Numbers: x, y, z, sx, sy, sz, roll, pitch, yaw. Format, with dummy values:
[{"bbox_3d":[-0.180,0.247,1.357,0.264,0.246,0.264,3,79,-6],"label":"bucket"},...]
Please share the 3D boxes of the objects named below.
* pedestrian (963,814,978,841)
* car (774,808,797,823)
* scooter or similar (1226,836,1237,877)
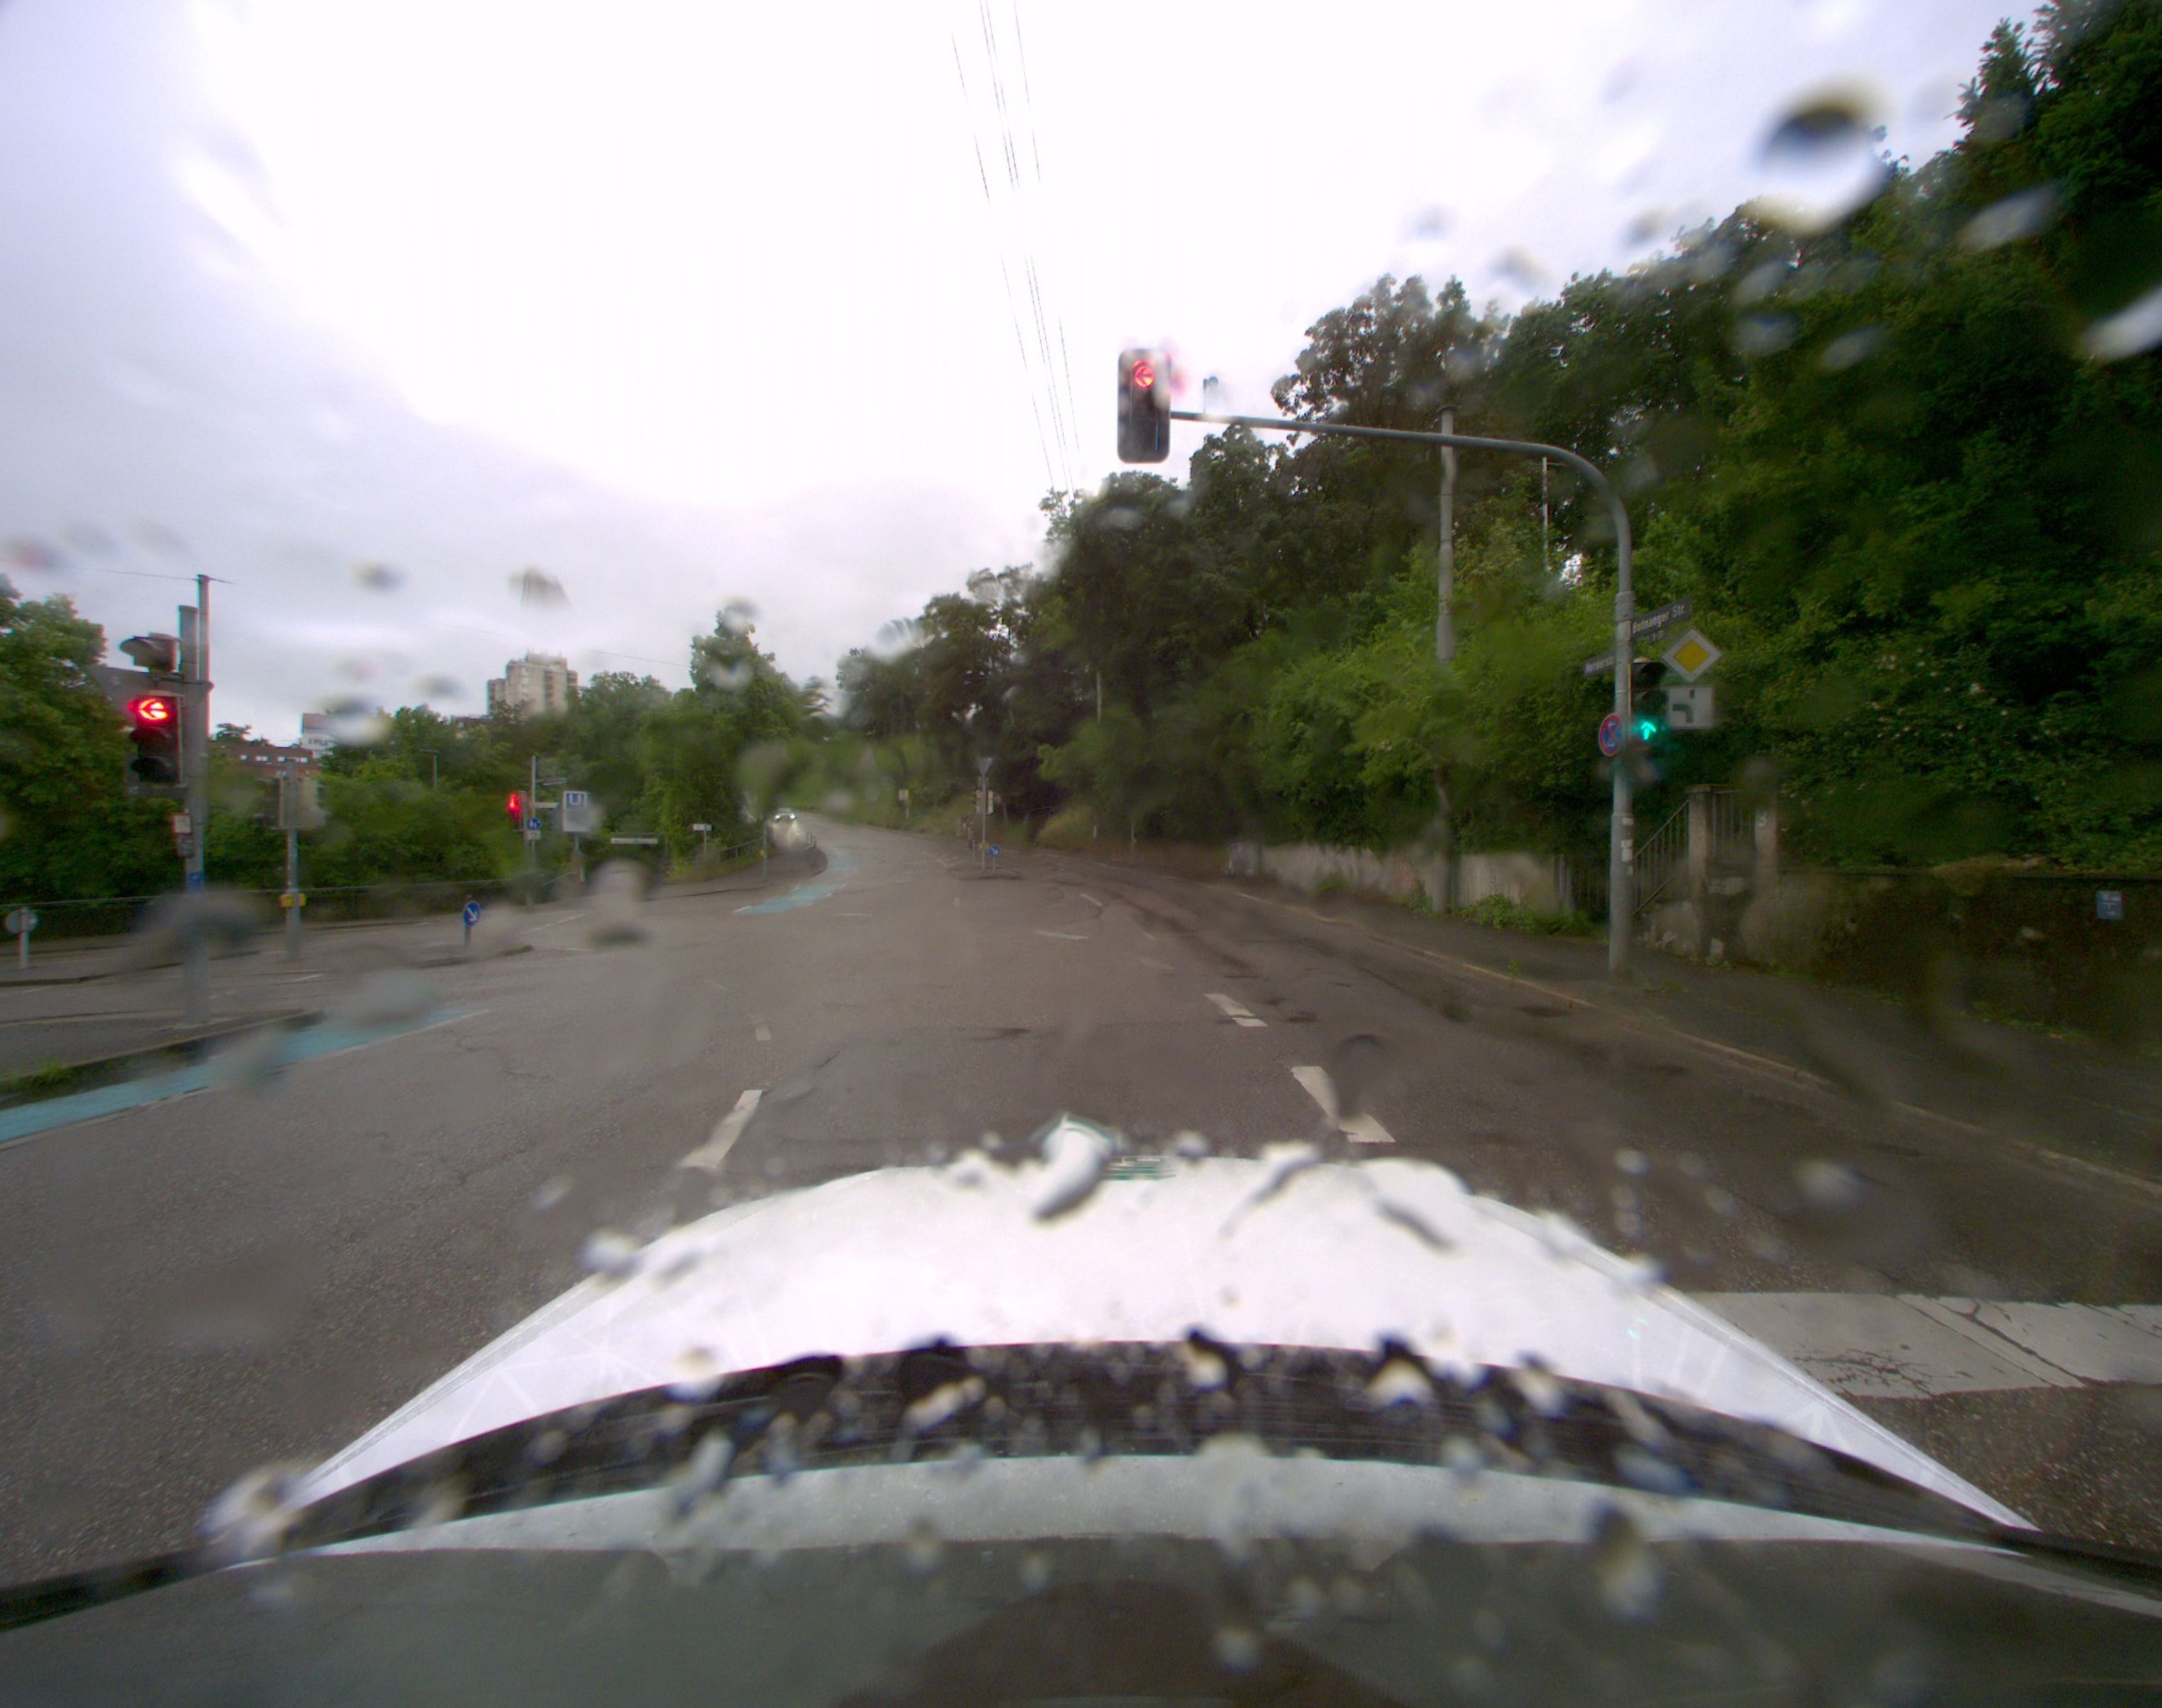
[{"bbox_3d":[-7.330,-1.758,54.101,0.882,1.736,0.861,0,-1,-15],"label":"pedestrian"},{"bbox_3d":[-29.735,-3.886,81.849,1.965,1.511,4.371,-1,3,-24],"label":"car"},{"bbox_3d":[4.901,0.068,26.504,0.320,1.279,0.754,-1,2,10],"label":"scooter or similar"}]
